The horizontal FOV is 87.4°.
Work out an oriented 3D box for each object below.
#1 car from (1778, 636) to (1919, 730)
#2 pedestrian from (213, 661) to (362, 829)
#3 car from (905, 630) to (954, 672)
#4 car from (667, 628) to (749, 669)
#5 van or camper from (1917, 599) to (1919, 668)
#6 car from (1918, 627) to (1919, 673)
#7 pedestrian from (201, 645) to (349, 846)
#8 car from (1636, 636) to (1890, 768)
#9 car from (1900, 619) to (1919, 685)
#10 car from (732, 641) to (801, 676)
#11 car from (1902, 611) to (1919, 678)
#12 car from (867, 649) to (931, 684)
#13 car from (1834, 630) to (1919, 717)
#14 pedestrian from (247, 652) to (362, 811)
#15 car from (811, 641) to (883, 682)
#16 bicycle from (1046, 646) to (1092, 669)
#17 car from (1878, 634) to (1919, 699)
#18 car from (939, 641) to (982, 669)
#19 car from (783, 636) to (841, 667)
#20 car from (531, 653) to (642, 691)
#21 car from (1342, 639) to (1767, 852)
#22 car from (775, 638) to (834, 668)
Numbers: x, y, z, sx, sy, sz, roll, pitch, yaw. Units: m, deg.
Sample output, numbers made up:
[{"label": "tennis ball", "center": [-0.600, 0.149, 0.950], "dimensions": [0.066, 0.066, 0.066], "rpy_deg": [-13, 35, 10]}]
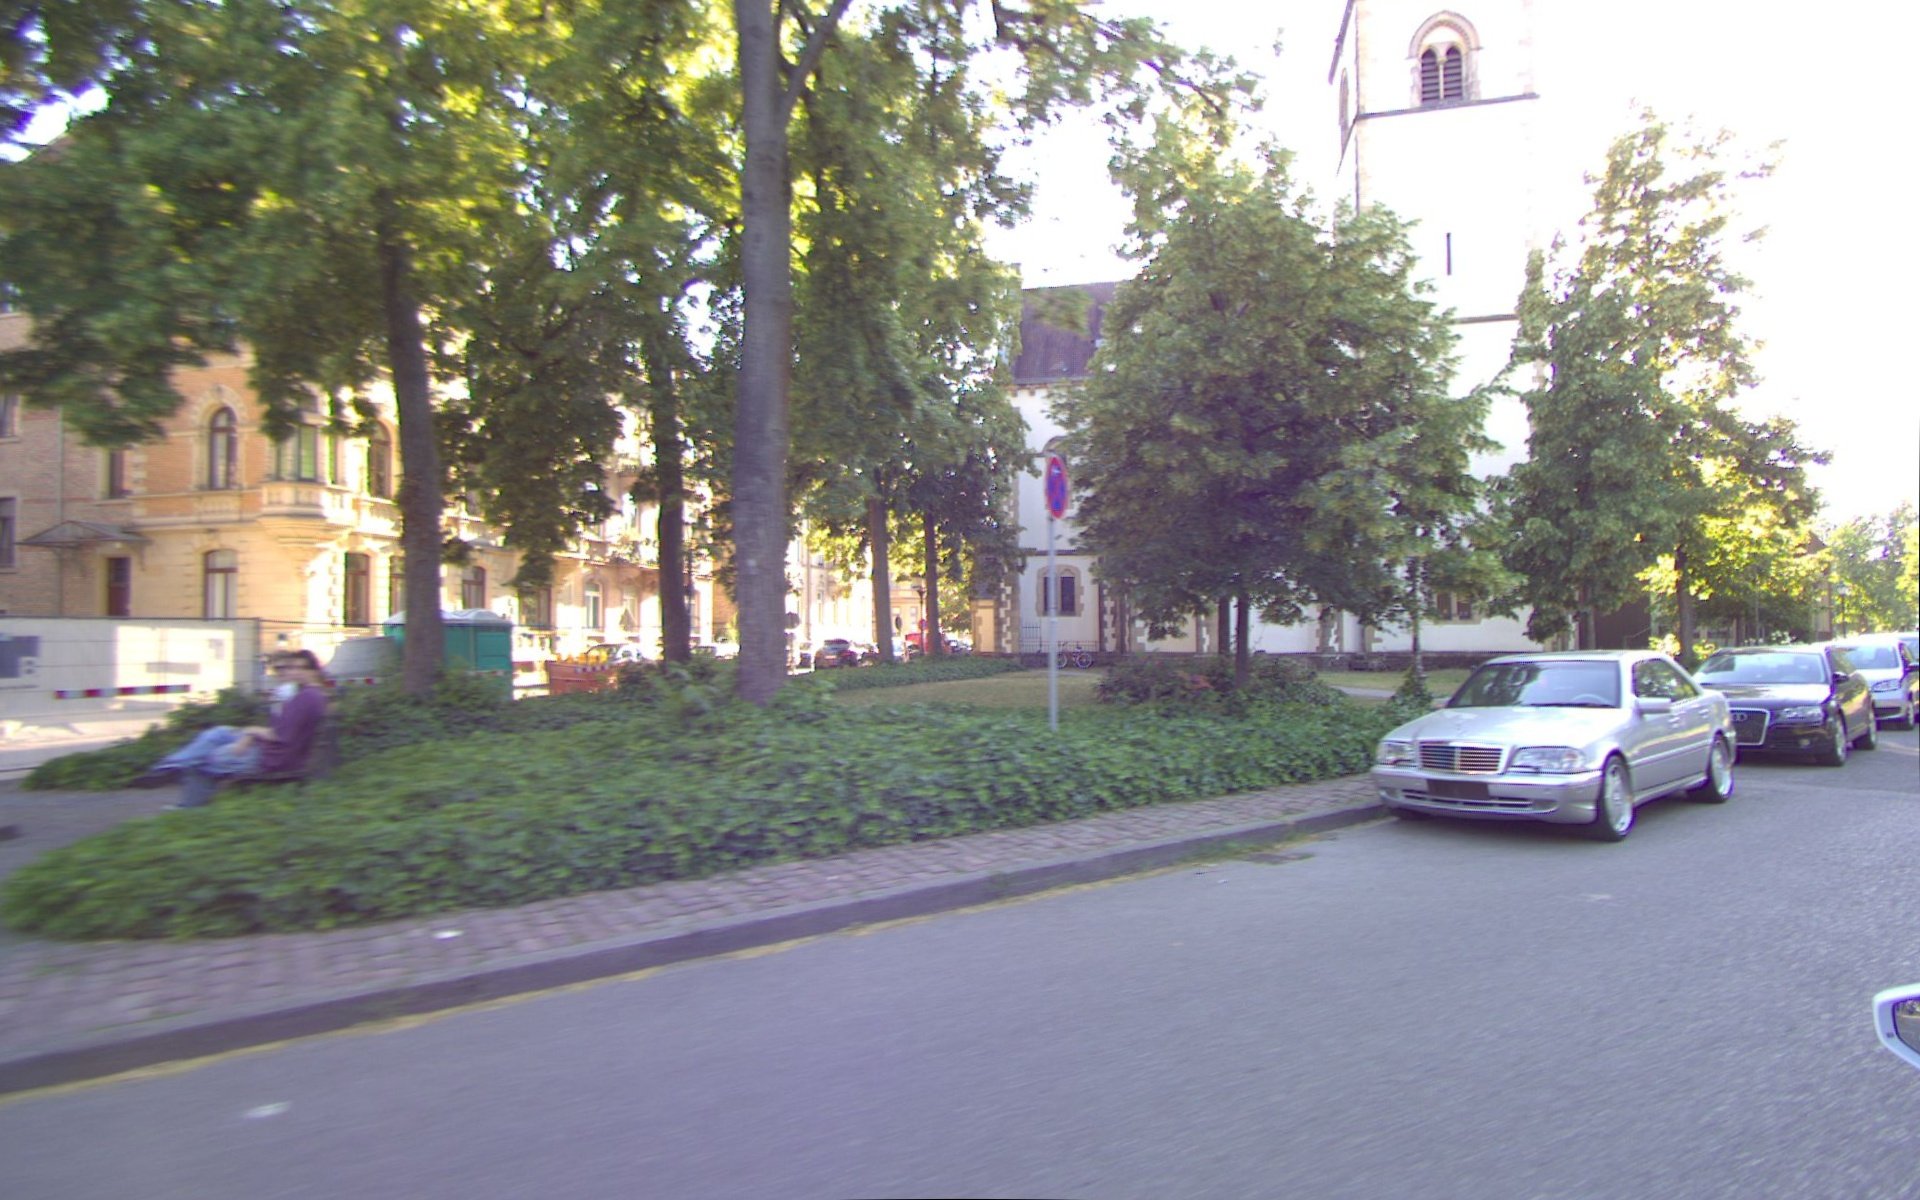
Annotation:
[{"label": "car", "center": [15.743, 1.396, 17.557], "dimensions": [3.578, 1.459, 1.599], "rpy_deg": [1, -4, -41]}, {"label": "pedestrian", "center": [-5.228, 1.095, 7.859], "dimensions": [0.872, 1.211, 0.550], "rpy_deg": [0, -2, -25]}, {"label": "car", "center": [-1.675, 2.870, 57.002], "dimensions": [1.853, 2.291, 4.224], "rpy_deg": [-1, -3, 12]}, {"label": "car", "center": [-14.365, 2.758, 57.376], "dimensions": [4.135, 2.291, 1.893], "rpy_deg": [-1, -2, 12]}, {"label": "van or camper", "center": [44.263, 1.470, 44.827], "dimensions": [2.069, 2.946, 6.291], "rpy_deg": [-2, -3, 45]}, {"label": "car", "center": [40.463, 2.063, 40.987], "dimensions": [1.831, 1.910, 4.121], "rpy_deg": [-2, -3, 42]}, {"label": "pedestrian", "center": [-4.779, 0.981, 7.054], "dimensions": [0.755, 1.315, 0.550], "rpy_deg": [0, -2, -25]}, {"label": "car", "center": [10.757, 1.254, 13.343], "dimensions": [4.460, 1.434, 1.809], "rpy_deg": [1, -5, -41]}, {"label": "car", "center": [30.804, 1.583, 31.293], "dimensions": [4.805, 1.972, 1.834], "rpy_deg": [1, -3, -43]}, {"label": "car", "center": [-9.928, 2.987, 51.896], "dimensions": [1.959, 1.677, 4.223], "rpy_deg": [-1, -2, 12]}, {"label": "car", "center": [36.349, 1.625, 37.298], "dimensions": [1.831, 2.386, 5.158], "rpy_deg": [-2, -3, 42]}, {"label": "car", "center": [-3.047, 3.337, 51.117], "dimensions": [1.854, 1.677, 4.222], "rpy_deg": [-1, -3, 18]}, {"label": "car", "center": [18.775, 1.400, 19.973], "dimensions": [3.670, 1.599, 1.689], "rpy_deg": [1, -3, -43]}, {"label": "pedestrian", "center": [-5.454, 1.063, 8.397], "dimensions": [0.715, 1.249, 0.550], "rpy_deg": [0, -2, -25]}, {"label": "car", "center": [-4.816, 2.616, 43.282], "dimensions": [1.853, 1.677, 4.224], "rpy_deg": [-1, -3, 12]}, {"label": "bicycle", "center": [4.536, 2.394, 41.799], "dimensions": [1.846, 0.930, 0.423], "rpy_deg": [-1, -2, 15]}, {"label": "car", "center": [24.302, 1.628, 25.159], "dimensions": [3.670, 1.521, 1.601], "rpy_deg": [1, -3, -43]}, {"label": "car", "center": [0.074, 3.409, 63.069], "dimensions": [1.853, 1.677, 4.224], "rpy_deg": [-1, -3, 12]}, {"label": "car", "center": [-8.550, 2.975, 58.469], "dimensions": [1.959, 1.677, 4.223], "rpy_deg": [-1, -2, 12]}, {"label": "car", "center": [-13.808, 2.641, 37.398], "dimensions": [1.874, 1.294, 4.223], "rpy_deg": [-1, -2, 12]}, {"label": "car", "center": [5.524, 1.131, 9.101], "dimensions": [4.458, 1.434, 1.767], "rpy_deg": [1, -5, -38]}, {"label": "car", "center": [-8.819, 2.997, 57.272], "dimensions": [1.959, 1.677, 4.223], "rpy_deg": [-1, -2, 12]}]
